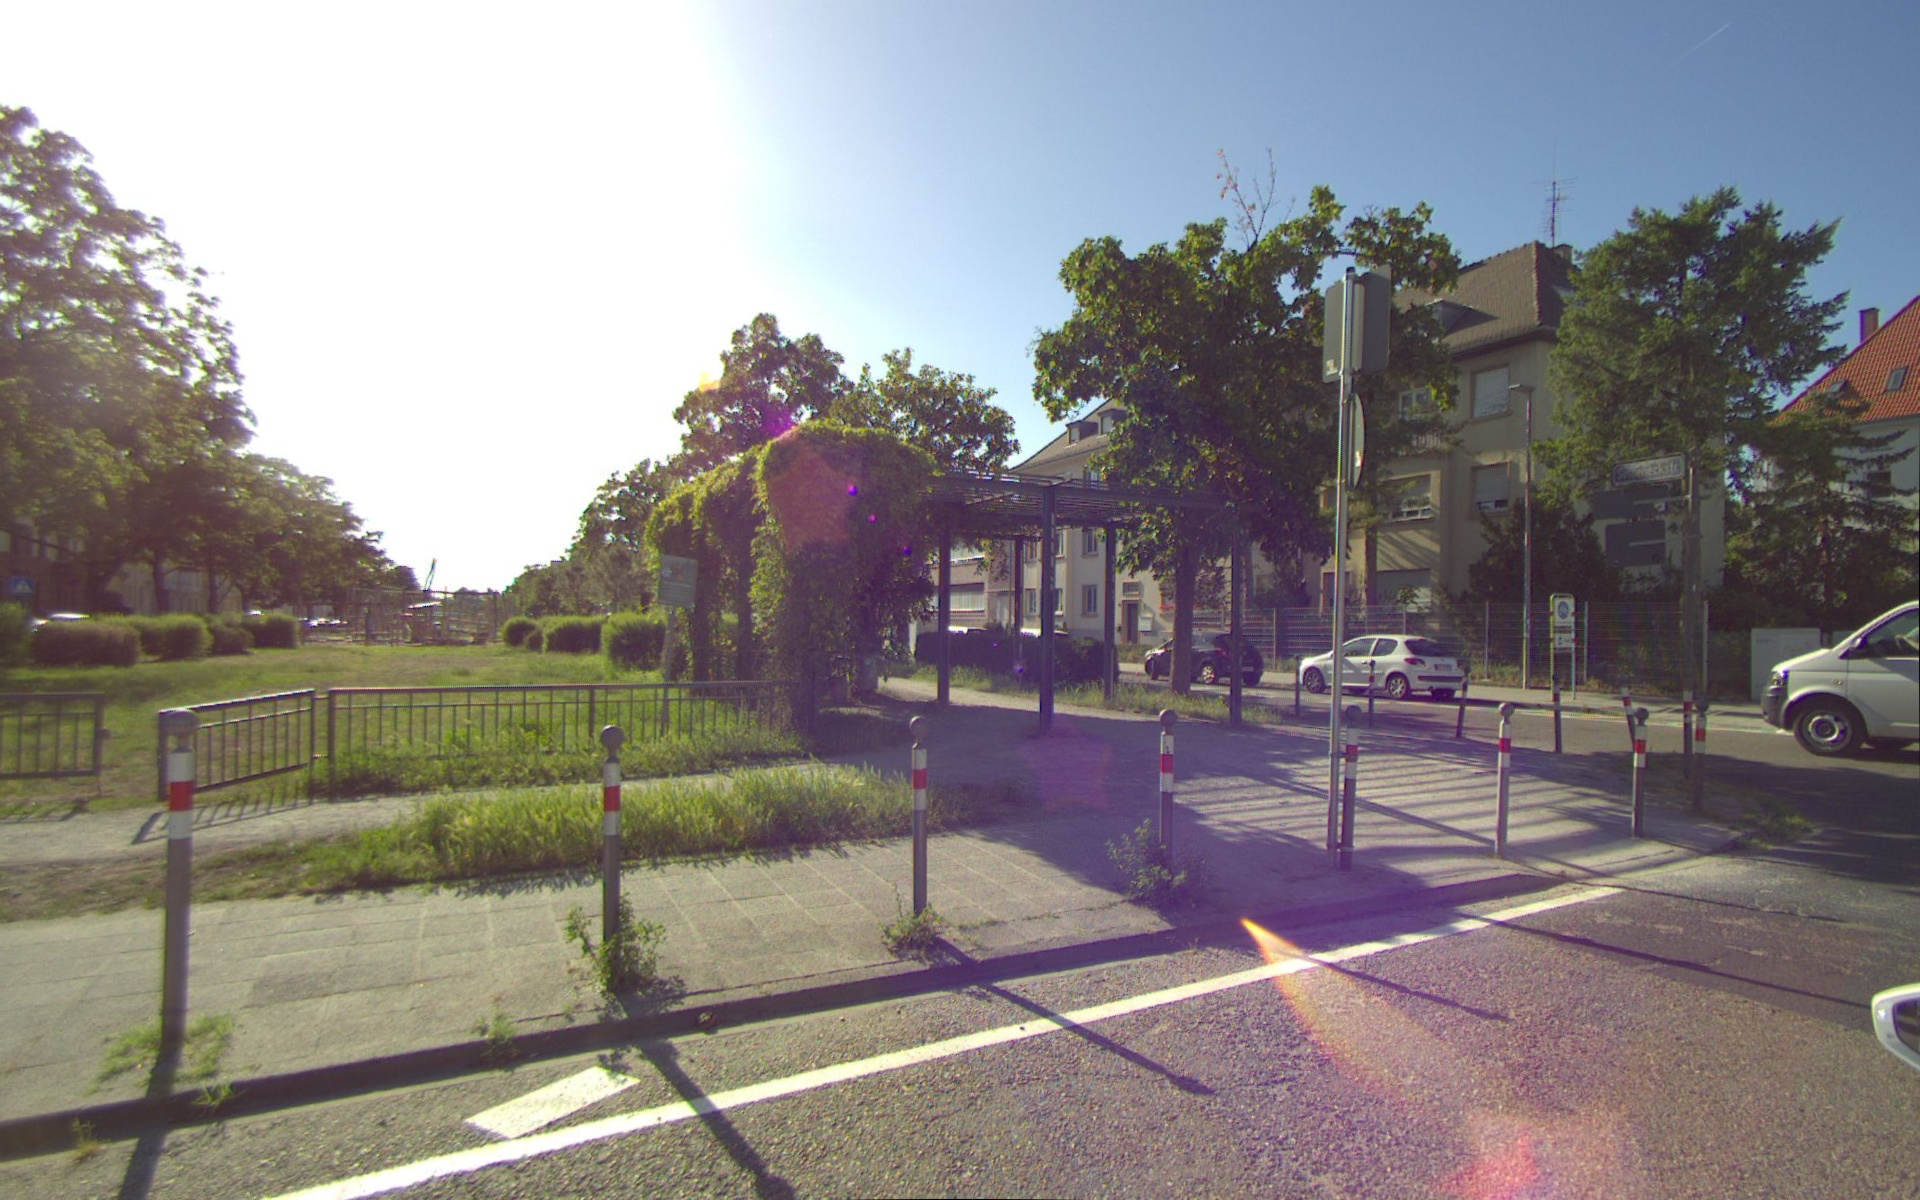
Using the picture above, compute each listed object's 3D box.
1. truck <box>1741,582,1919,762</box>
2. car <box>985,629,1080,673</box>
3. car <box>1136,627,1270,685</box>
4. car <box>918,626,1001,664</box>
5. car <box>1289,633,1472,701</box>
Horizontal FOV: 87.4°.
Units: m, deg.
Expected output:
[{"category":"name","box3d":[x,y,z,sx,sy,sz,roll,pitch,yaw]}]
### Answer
[{"category":"truck","box3d":[12.136,0.825,11.374,1.974,2.063,4.841,1,-2,-27]},{"category":"car","box3d":[2.650,1.873,37.730,1.778,1.514,3.974,2,-2,-26]},{"category":"car","box3d":[6.829,1.569,28.614,1.655,1.514,3.801,2,-2,-26]},{"category":"car","box3d":[-0.075,1.918,43.270,1.781,1.514,3.967,3,-2,-31]},{"category":"car","box3d":[9.658,1.512,23.339,1.685,1.416,3.751,2,-2,-27]}]
